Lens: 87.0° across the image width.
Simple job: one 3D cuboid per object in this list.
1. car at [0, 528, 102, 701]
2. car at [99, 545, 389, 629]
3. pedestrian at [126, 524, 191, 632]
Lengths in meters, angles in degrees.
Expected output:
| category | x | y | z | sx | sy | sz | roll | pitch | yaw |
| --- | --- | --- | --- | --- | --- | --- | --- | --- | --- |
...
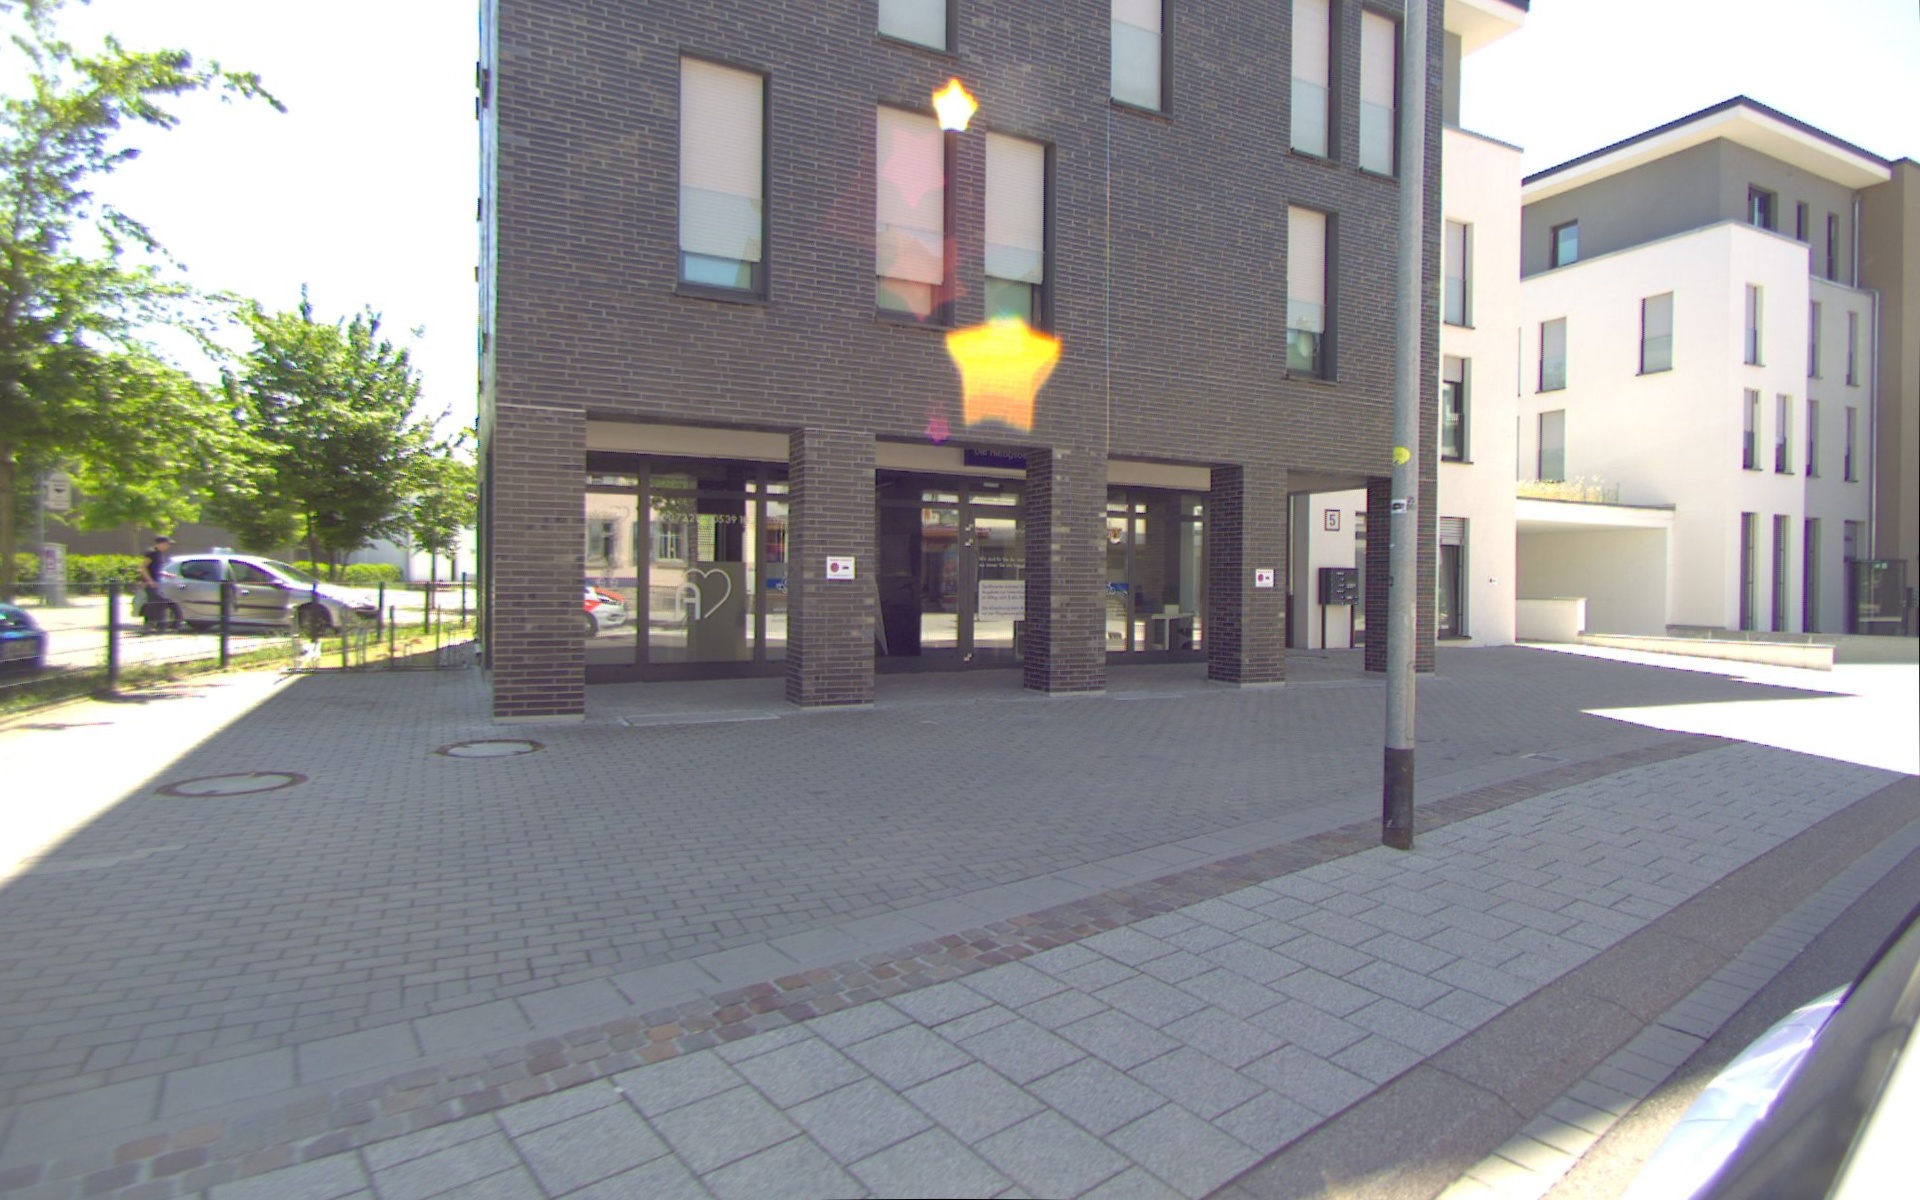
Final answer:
| category | x | y | z | sx | sy | sz | roll | pitch | yaw |
| --- | --- | --- | --- | --- | --- | --- | --- | --- | --- |
| car | -10.221 | 0.062 | 8.578 | 4.085 | 1.459 | 1.821 | 2 | 0 | -14 |
| car | -13.316 | -0.249 | 19.096 | 4.085 | 1.459 | 1.821 | 1 | 2 | -14 |
| pedestrian | -13.824 | -0.381 | 17.463 | 0.684 | 1.812 | 0.638 | 1 | 1 | -17 |
